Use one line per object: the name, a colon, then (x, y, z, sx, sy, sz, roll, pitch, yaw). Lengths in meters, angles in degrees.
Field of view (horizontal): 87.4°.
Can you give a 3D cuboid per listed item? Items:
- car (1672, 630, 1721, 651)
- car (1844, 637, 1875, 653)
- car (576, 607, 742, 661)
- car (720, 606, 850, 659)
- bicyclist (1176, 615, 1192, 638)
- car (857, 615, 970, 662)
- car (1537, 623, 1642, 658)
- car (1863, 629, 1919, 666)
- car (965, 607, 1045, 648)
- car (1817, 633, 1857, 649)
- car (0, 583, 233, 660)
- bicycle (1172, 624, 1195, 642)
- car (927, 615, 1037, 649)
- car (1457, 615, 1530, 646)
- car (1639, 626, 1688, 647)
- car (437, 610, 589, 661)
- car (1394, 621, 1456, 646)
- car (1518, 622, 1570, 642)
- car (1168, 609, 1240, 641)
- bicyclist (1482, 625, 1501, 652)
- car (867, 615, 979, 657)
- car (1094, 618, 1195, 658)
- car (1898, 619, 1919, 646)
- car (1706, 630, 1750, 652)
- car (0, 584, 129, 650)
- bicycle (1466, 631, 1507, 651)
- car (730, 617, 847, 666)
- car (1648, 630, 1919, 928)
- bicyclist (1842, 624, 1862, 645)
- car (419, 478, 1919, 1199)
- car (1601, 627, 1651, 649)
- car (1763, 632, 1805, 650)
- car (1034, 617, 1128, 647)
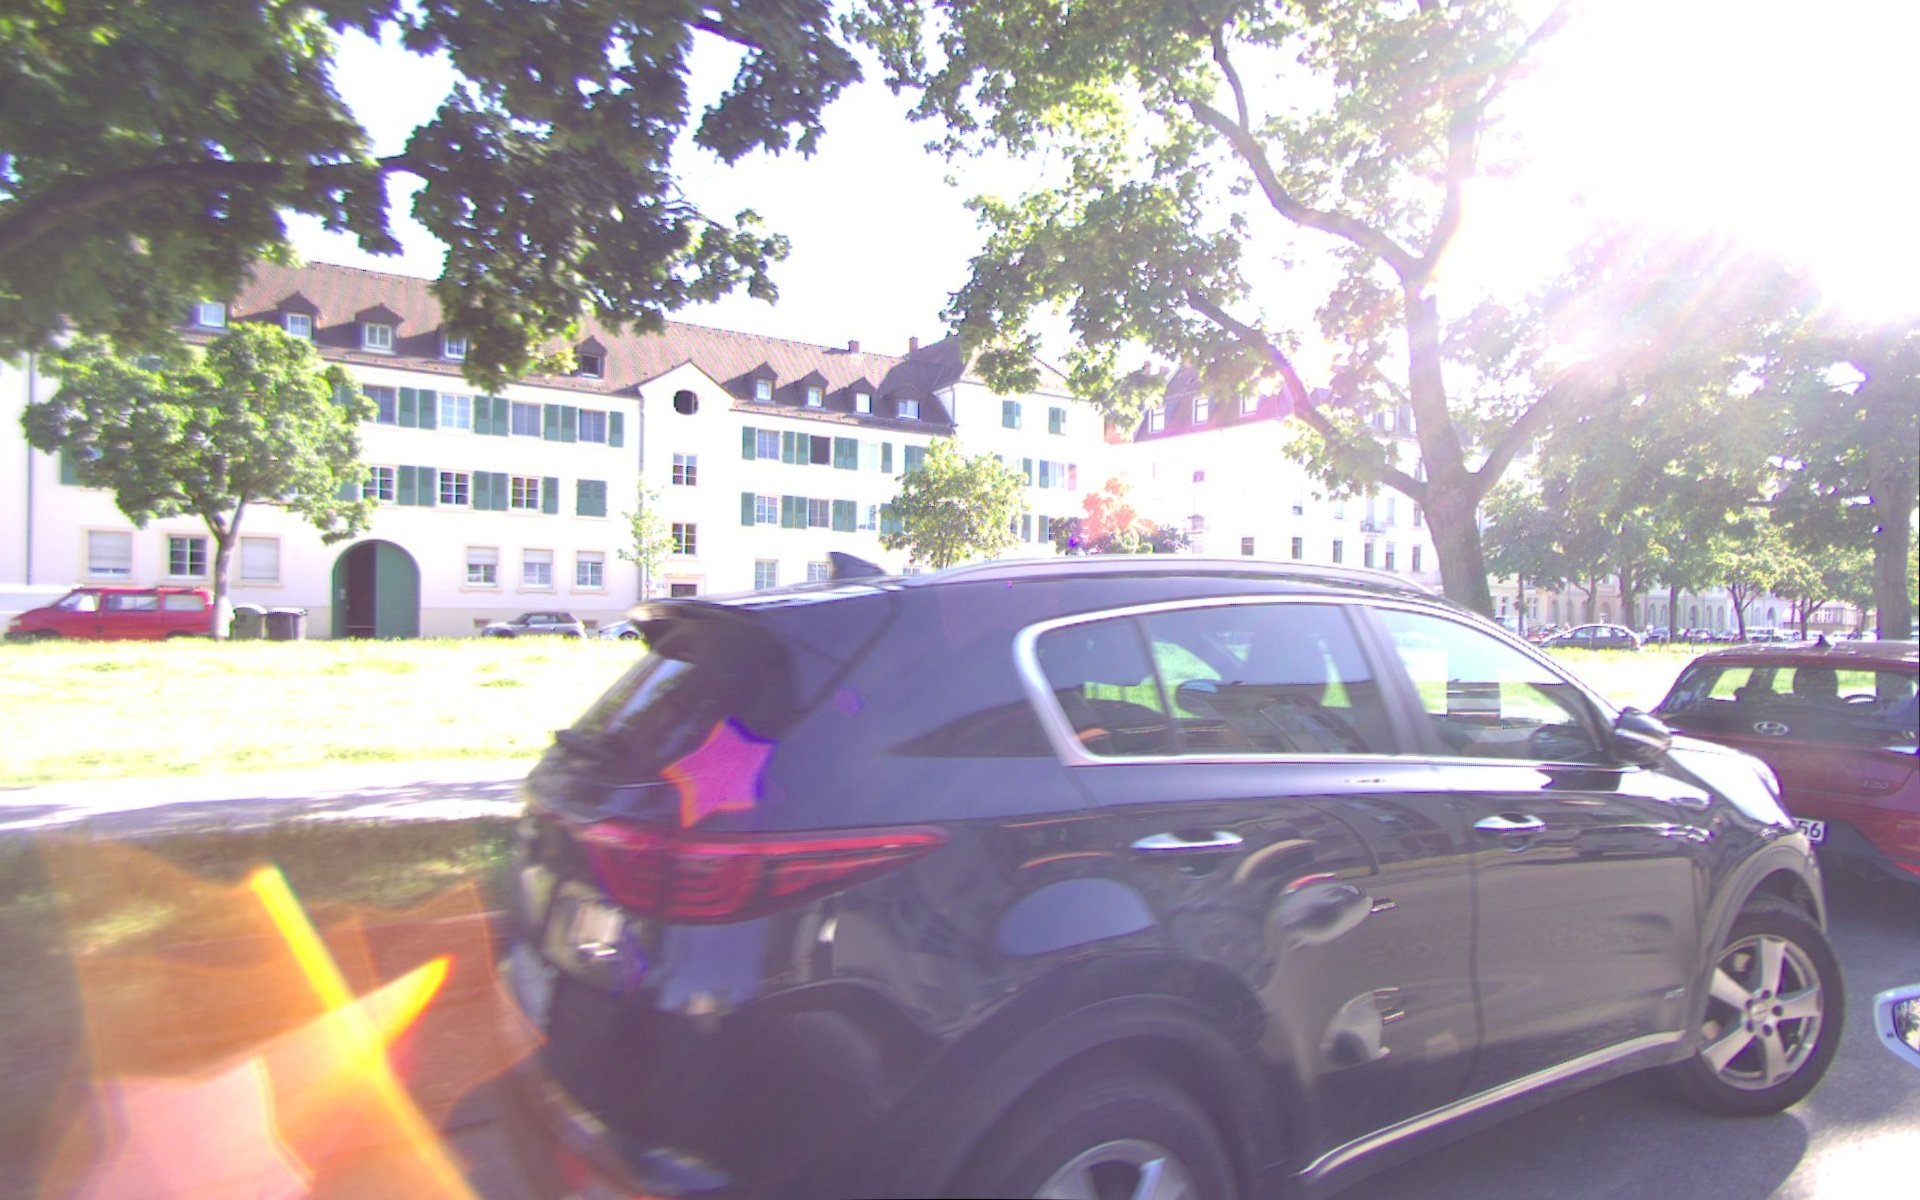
car: (58.420, 3.208, 79.636, 4.481, 1.570, 1.746, 2, -1, -34)
car: (87.163, 4.349, 97.311, 3.198, 1.459, 1.508, 1, -1, -34)
car: (-10.965, 1.217, 36.621, 5.389, 1.844, 2.439, 1, -1, -30)
car: (-7.863, 1.461, 45.236, 5.202, 2.245, 2.516, 1, -1, -33)
bicyclist: (13.234, 1.564, 59.454, 0.778, 1.382, 0.528, 1, 0, -36)
car: (-1.949, 1.605, 42.229, 4.213, 1.844, 2.222, 1, -1, -34)
car: (30.834, 1.952, 49.225, 4.276, 1.597, 1.923, 0, -1, 35)
car: (40.683, 2.019, 41.873, 4.276, 1.428, 1.914, 1, 1, 35)
car: (2.312, 1.409, 51.314, 3.854, 2.040, 1.656, 2, -1, -32)
car: (83.201, 3.914, 95.258, 3.731, 1.459, 1.837, 1, -1, -31)
car: (-23.931, 0.614, 28.490, 5.202, 2.011, 2.207, 1, -1, -34)
bicycle: (13.243, 1.974, 59.473, 1.473, 1.030, 0.524, 1, 0, -37)
car: (1.060, 1.492, 46.875, 4.903, 1.504, 1.983, 2, -1, -32)
car: (34.588, 1.953, 65.063, 5.045, 1.897, 2.069, 1, -1, -34)
car: (53.365, 2.762, 76.197, 4.309, 1.570, 1.621, 2, -1, -34)
car: (-17.401, 1.353, 39.161, 5.195, 1.844, 2.439, 1, -1, -30)
car: (32.359, 2.330, 69.880, 4.408, 1.608, 1.980, 1, -1, -35)
car: (39.281, 2.136, 67.562, 3.489, 1.296, 1.684, 1, -1, -34)
car: (16.495, 1.663, 68.022, 2.118, 2.040, 4.533, 1, 0, -34)
bicyclist: (28.911, 2.090, 54.648, 0.861, 1.382, 0.623, 1, 2, 26)
car: (-1.781, 1.737, 48.879, 5.101, 1.911, 2.142, 1, -1, -32)
car: (9.011, 1.835, 48.995, 4.655, 1.844, 2.145, 1, -1, -33)
car: (102.266, 3.501, 107.194, 5.566, 2.780, 1.904, 1, -1, -34)
car: (63.100, 3.336, 82.506, 4.038, 1.709, 1.621, 1, -1, -34)
car: (-29.501, 0.510, 31.378, 5.202, 2.011, 2.207, 1, -1, -34)
bicycle: (28.664, 2.210, 54.731, 1.946, 1.030, 0.657, 1, 0, 29)
car: (-6.718, 1.596, 39.254, 3.961, 1.773, 2.306, 1, -1, -30)
car: (6.272, 0.948, 6.419, 4.040, 1.447, 1.530, 1, -1, -31)
bicyclist: (78.345, 3.032, 88.205, 1.433, 1.861, 0.936, 2, -2, -31)
car: (0.976, 0.761, 3.207, 4.701, 1.647, 2.016, 1, -2, -30)
car: (48.781, 2.805, 73.566, 4.038, 1.547, 1.684, 1, -1, -34)
car: (72.594, 3.599, 88.454, 3.730, 1.448, 1.686, 1, -1, -30)
car: (6.511, 1.717, 53.870, 4.903, 1.504, 1.983, 2, -1, -32)
